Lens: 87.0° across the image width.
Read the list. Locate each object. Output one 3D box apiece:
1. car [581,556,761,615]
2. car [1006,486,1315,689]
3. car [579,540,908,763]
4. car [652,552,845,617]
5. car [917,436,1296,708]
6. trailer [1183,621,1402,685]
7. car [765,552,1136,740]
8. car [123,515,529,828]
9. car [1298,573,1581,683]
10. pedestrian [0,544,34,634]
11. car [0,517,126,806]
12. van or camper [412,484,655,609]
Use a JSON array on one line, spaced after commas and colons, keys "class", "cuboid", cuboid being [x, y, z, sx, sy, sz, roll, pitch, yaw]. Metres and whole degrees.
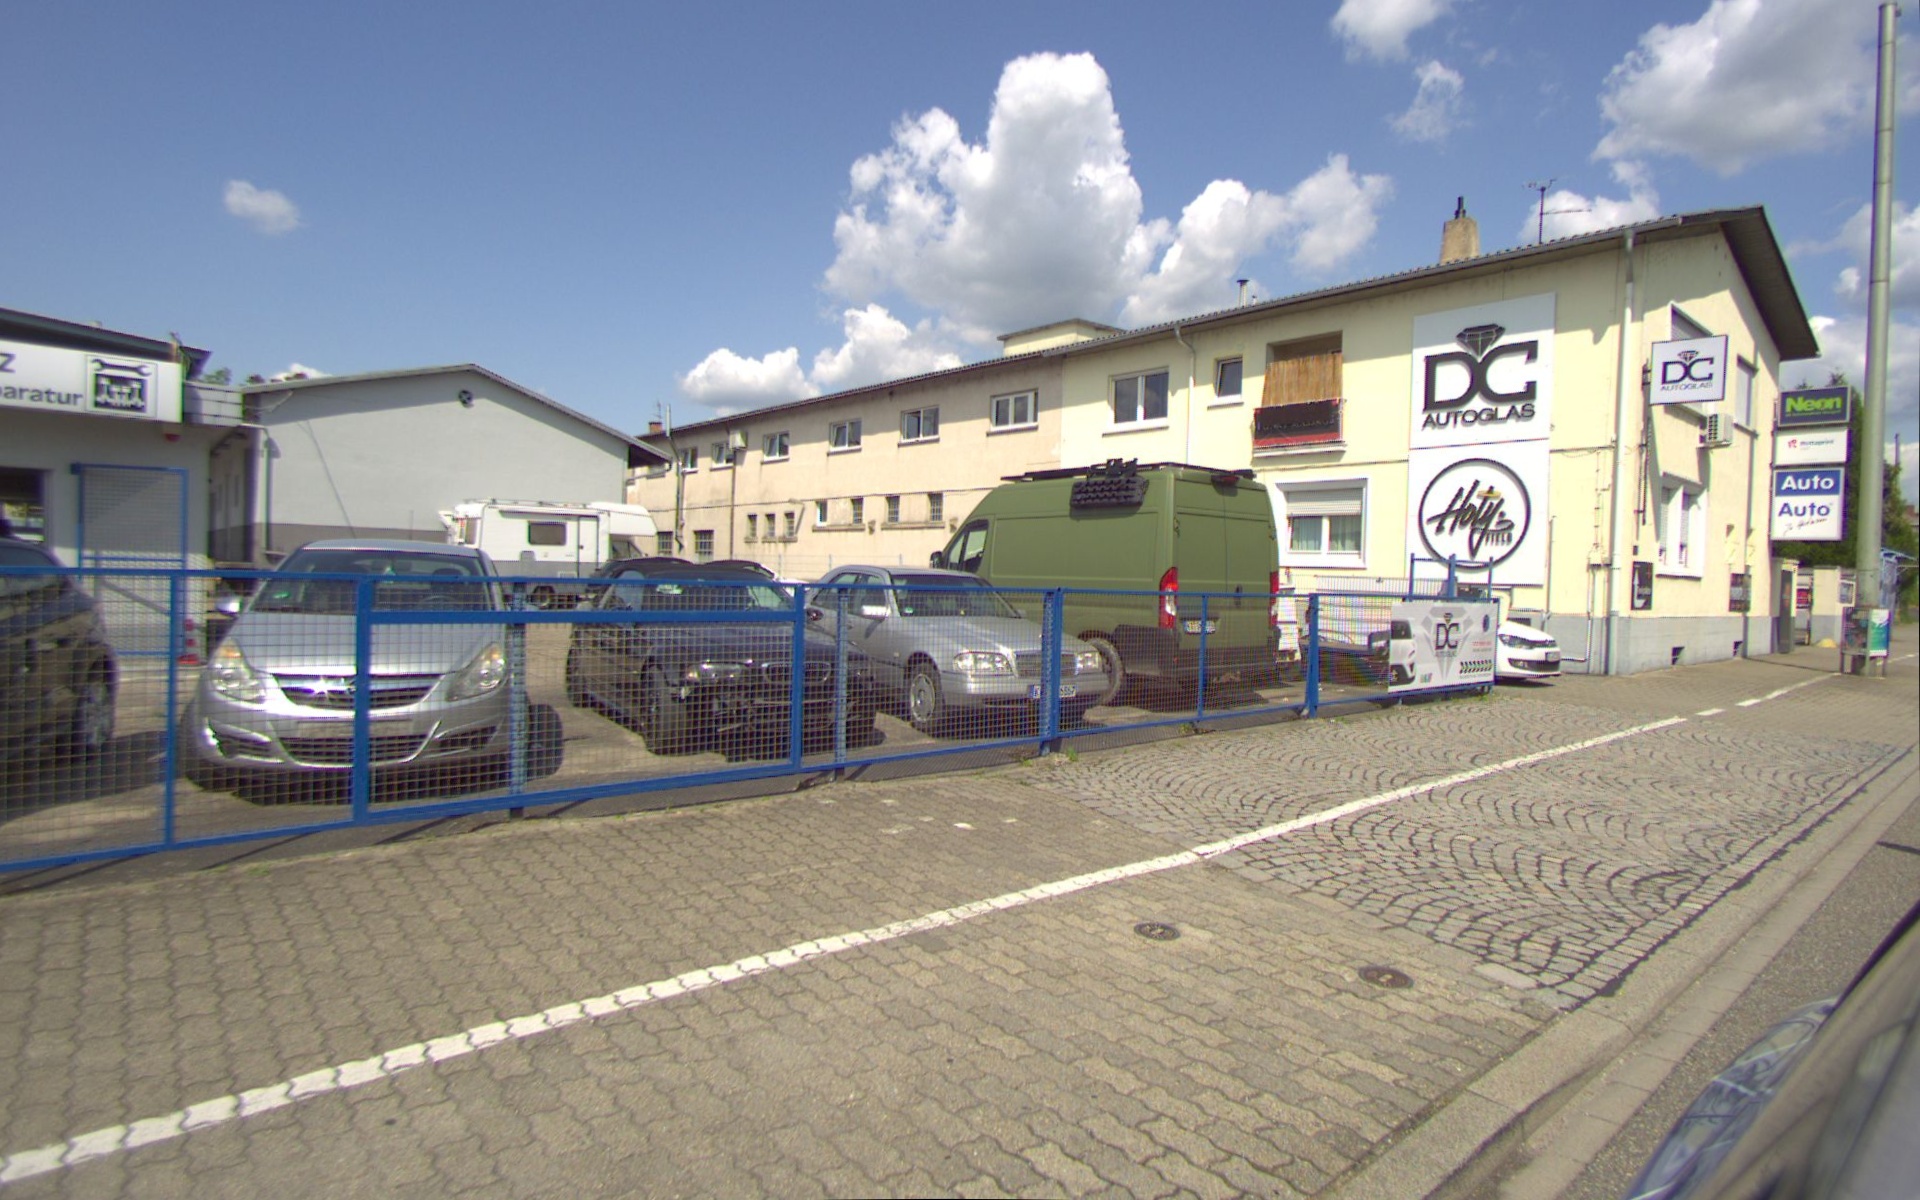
[{"class": "car", "cuboid": [-7.310, -0.359, 25.806, 4.112, 1.378, 1.645, 0, 2, -41]}, {"class": "car", "cuboid": [2.649, -0.228, 14.248, 1.557, 2.436, 4.208, 1, 2, -39]}, {"class": "car", "cuboid": [-2.132, 0.272, 8.893, 1.737, 1.470, 4.128, 1, 2, -28]}, {"class": "car", "cuboid": [-4.848, -0.349, 23.543, 4.112, 1.378, 1.645, 0, 2, -41]}, {"class": "car", "cuboid": [1.584, -0.352, 12.251, 2.075, 2.675, 4.208, 1, 2, -39]}, {"class": "trailer", "cuboid": [4.746, 0.723, 14.646, 1.307, 0.674, 2.730, 0, 2, -42]}, {"class": "car", "cuboid": [-0.342, 0.285, 10.198, 1.679, 1.470, 4.292, 1, 2, -33]}, {"class": "car", "cuboid": [-3.902, 0.279, 6.836, 1.736, 1.470, 3.778, 1, 2, -24]}, {"class": "car", "cuboid": [7.531, 0.359, 16.174, 1.527, 1.481, 3.775, 1, 2, -39]}, {"class": "pedestrian", "cuboid": [-13.165, -0.158, 13.877, 0.652, 1.224, 0.566, 1, 1, -39]}, {"class": "car", "cuboid": [-5.631, 0.302, 4.869, 1.606, 1.470, 3.700, 1, 2, -25]}, {"class": "van or camper", "cuboid": [-11.307, -1.324, 27.106, 5.556, 3.002, 2.272, 0, 2, -42]}]
